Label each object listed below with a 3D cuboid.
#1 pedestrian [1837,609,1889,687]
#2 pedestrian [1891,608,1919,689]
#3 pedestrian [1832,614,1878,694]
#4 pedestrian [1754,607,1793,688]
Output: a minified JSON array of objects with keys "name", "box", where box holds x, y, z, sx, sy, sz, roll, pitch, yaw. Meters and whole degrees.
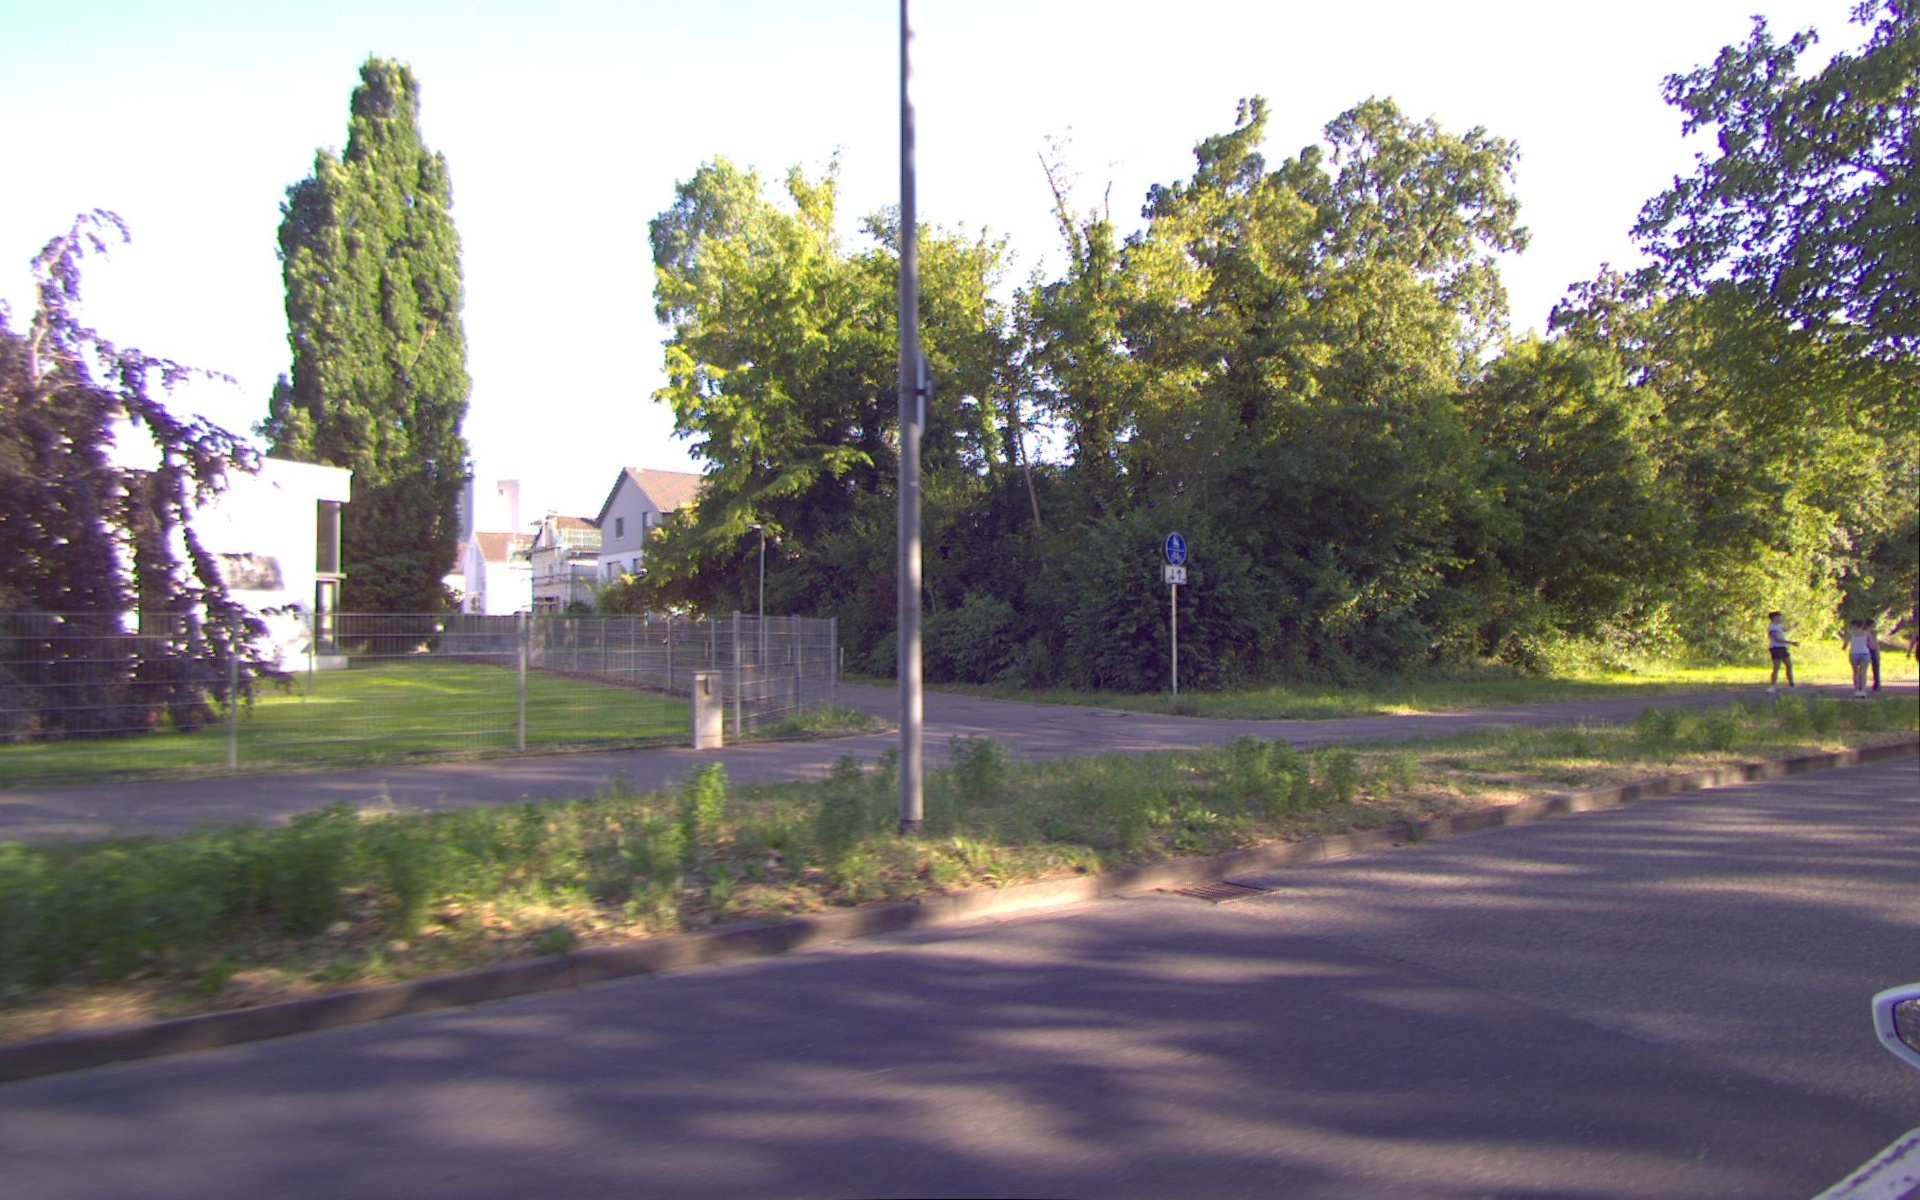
[{"name":"pedestrian","box":[20.819,1.095,23.151,0.742,1.762,0.663,0,-1,-28]},{"name":"pedestrian","box":[21.208,1.053,22.139,0.841,1.762,0.745,0,-1,-28]},{"name":"pedestrian","box":[18.951,1.123,21.268,0.571,1.659,0.627,1,-1,-40]},{"name":"pedestrian","box":[18.217,1.051,22.496,0.655,1.762,0.631,-1,-1,41]}]
